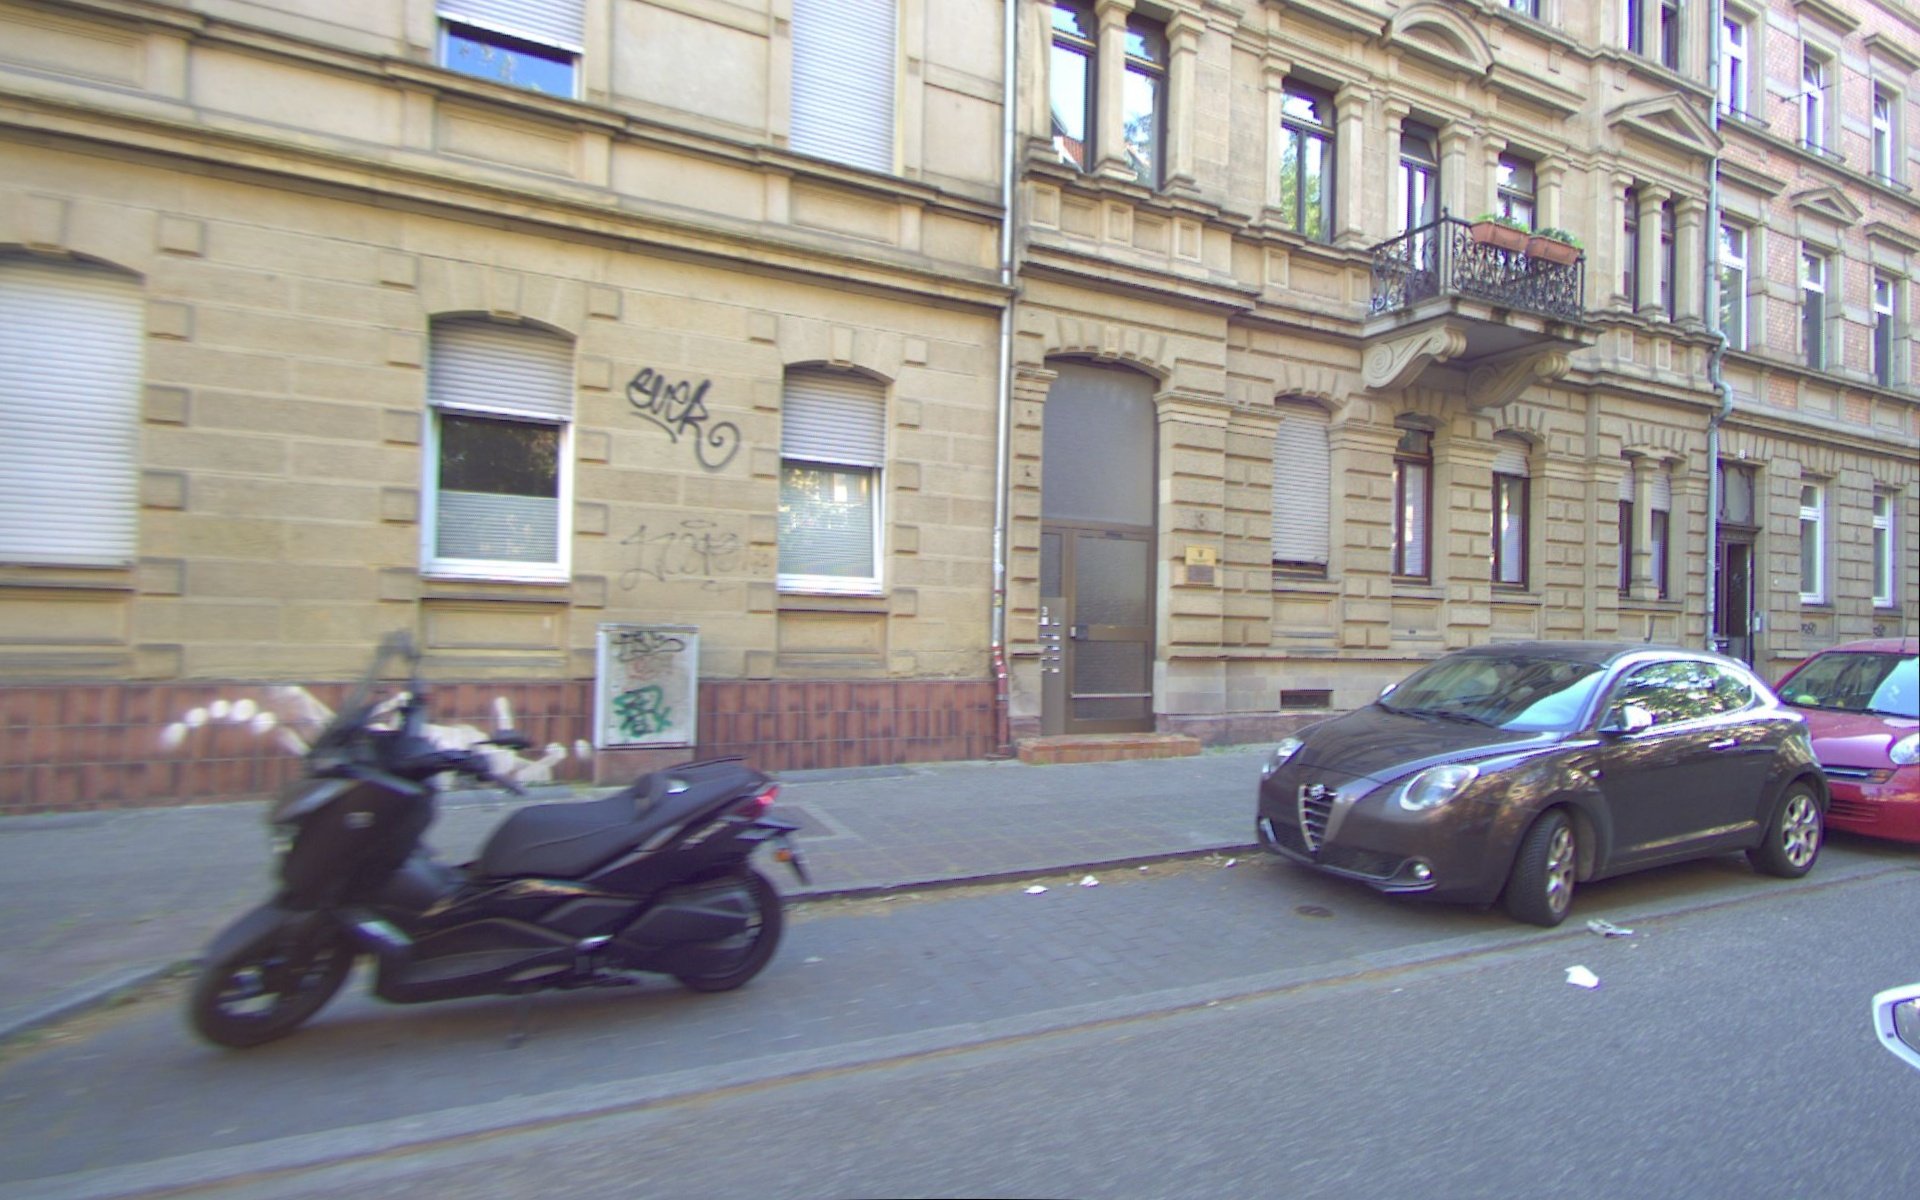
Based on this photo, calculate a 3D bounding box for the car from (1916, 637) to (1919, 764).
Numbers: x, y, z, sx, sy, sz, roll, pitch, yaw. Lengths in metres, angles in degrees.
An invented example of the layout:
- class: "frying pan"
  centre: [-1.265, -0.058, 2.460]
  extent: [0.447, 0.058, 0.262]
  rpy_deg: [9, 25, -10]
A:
- class: "car"
  centre: [12.683, 0.785, 10.762]
  extent: [5.190, 1.969, 1.826]
  rpy_deg: [1, 0, -26]

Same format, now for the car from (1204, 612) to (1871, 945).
- class: "car"
  centre: [3.713, 0.891, 6.400]
  extent: [4.007, 1.521, 1.752]
  rpy_deg: [1, 0, -27]

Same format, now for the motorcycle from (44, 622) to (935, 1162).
- class: "motorcycle"
  centre: [-1.482, 0.801, 3.702]
  extent: [2.574, 1.388, 1.062]
  rpy_deg: [1, -1, -28]

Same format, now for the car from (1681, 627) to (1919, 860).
- class: "car"
  centre: [7.800, 1.012, 8.094]
  extent: [3.648, 1.495, 1.588]
  rpy_deg: [1, 0, -24]

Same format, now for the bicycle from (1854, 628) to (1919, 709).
- class: "bicycle"
  centre: [16.417, 1.140, 17.164]
  extent: [2.790, 1.272, 0.738]
  rpy_deg: [1, 0, -27]
